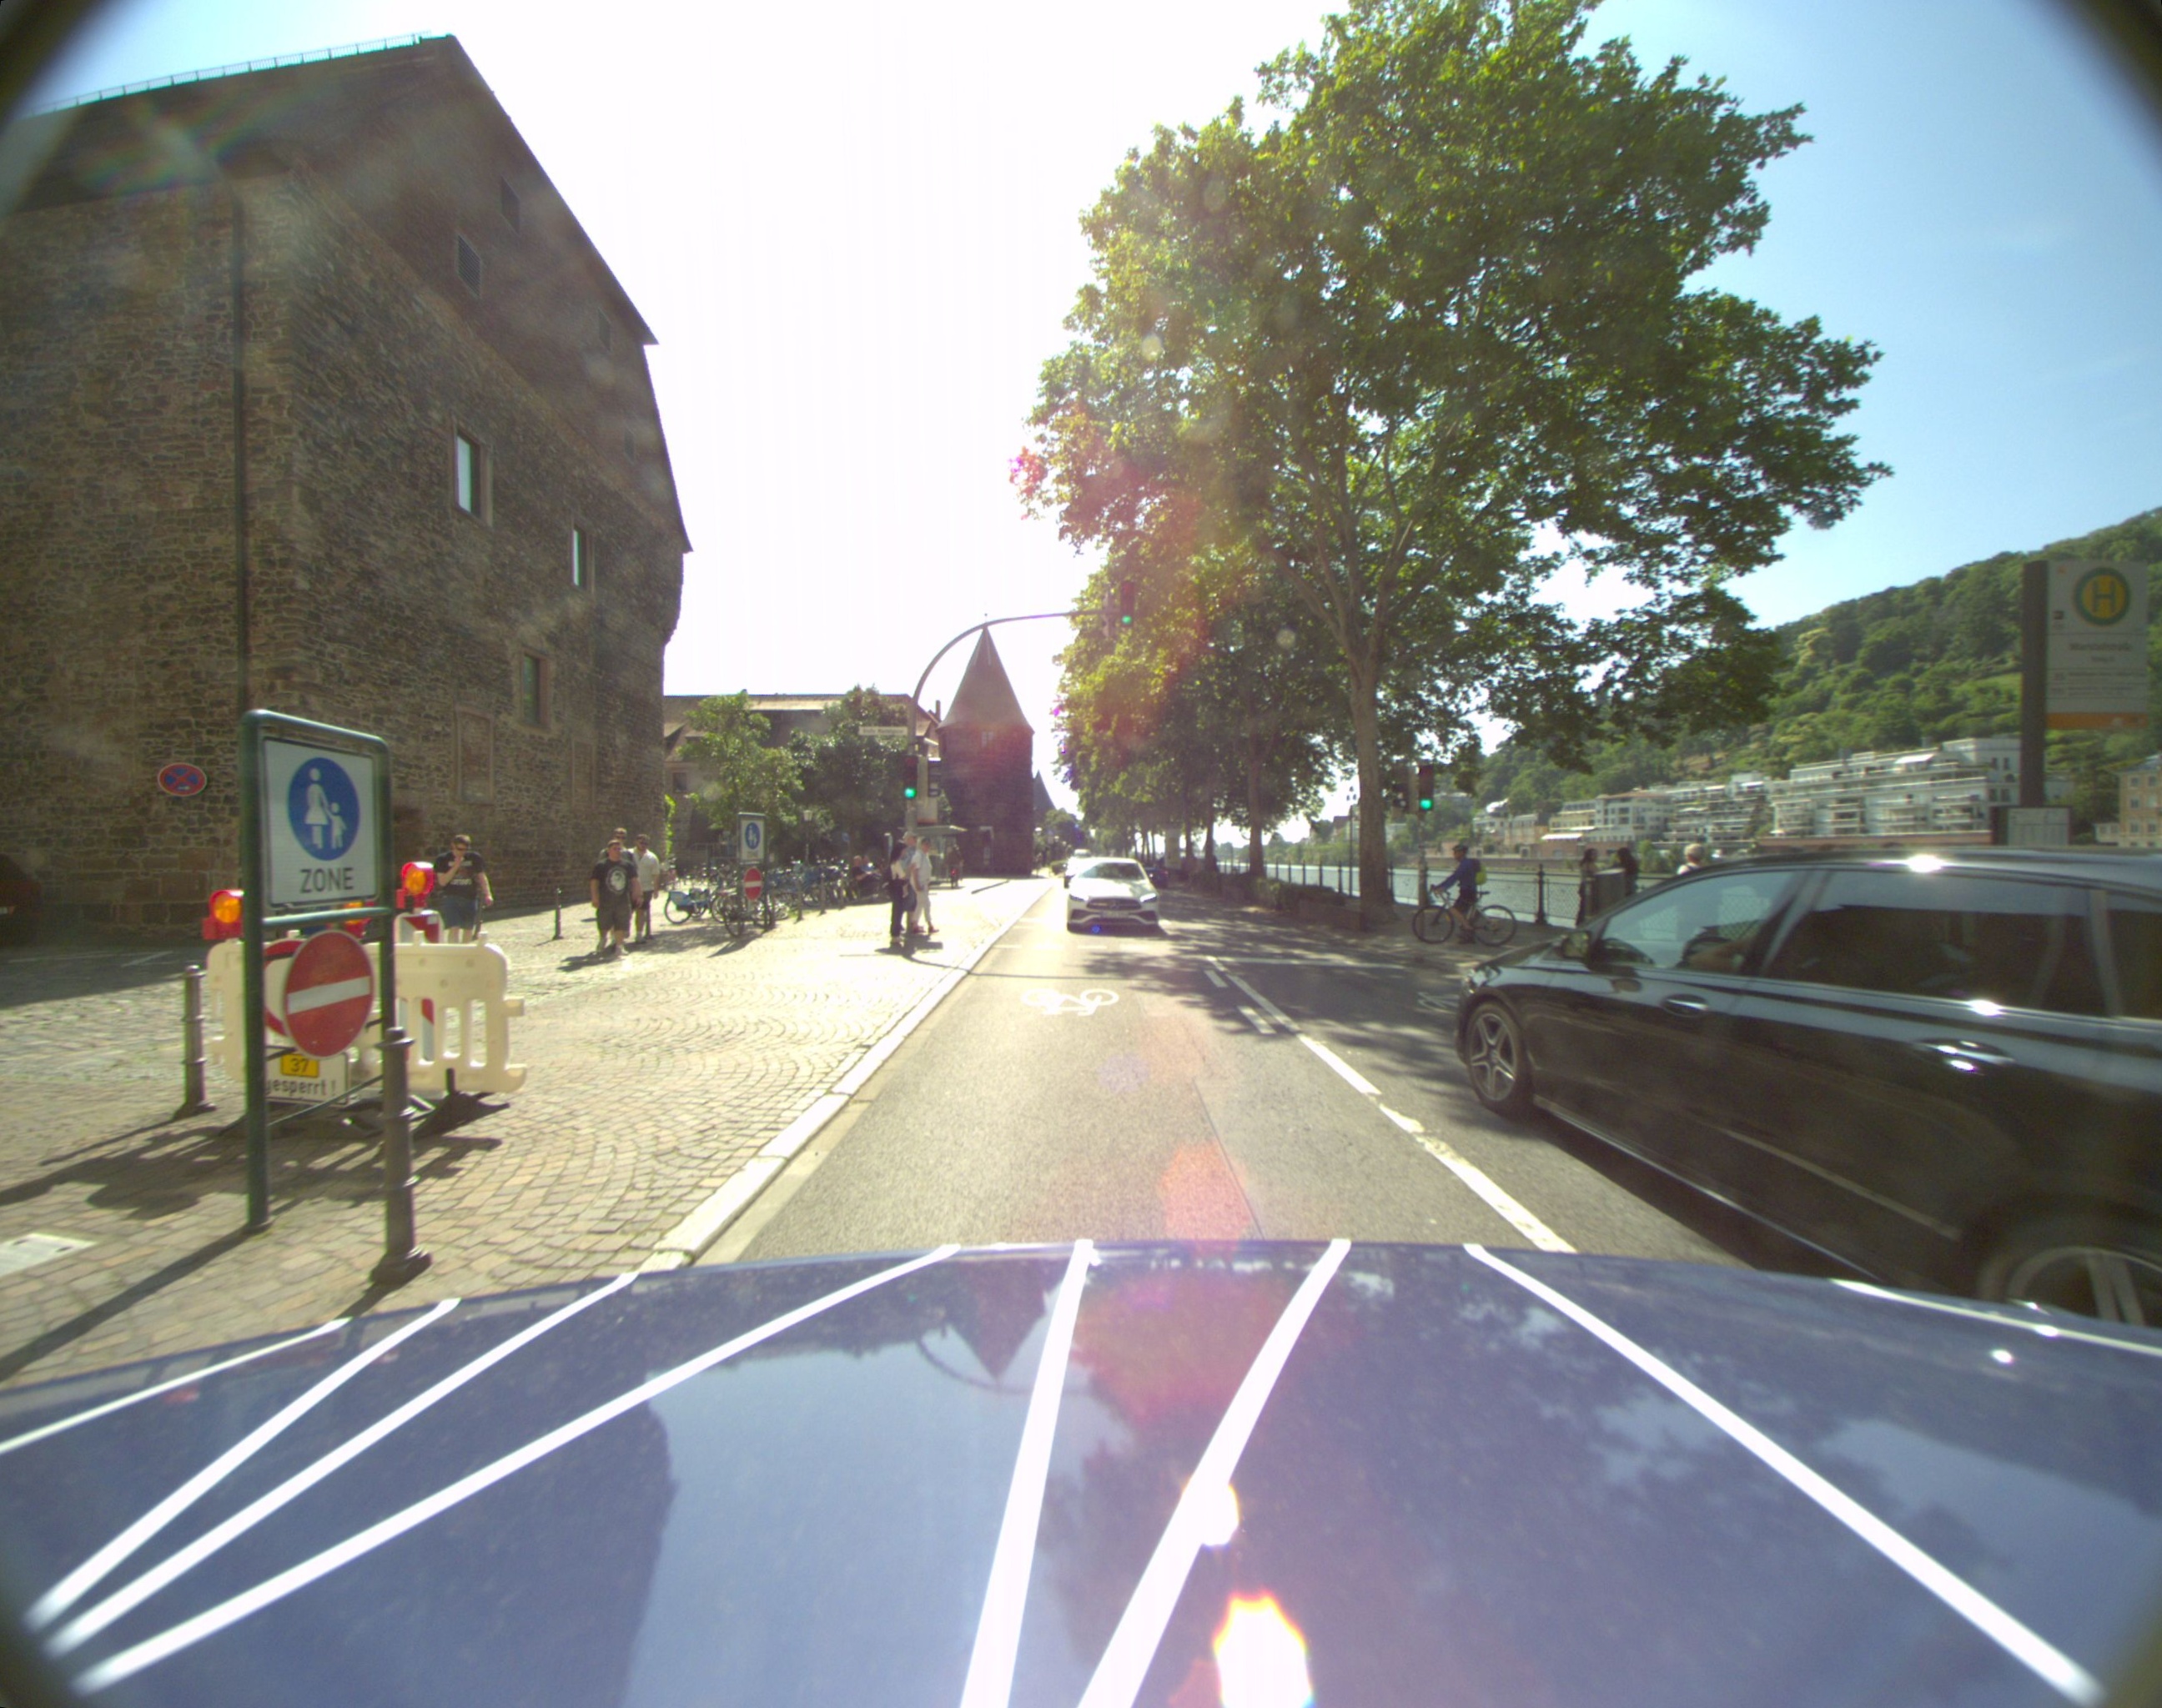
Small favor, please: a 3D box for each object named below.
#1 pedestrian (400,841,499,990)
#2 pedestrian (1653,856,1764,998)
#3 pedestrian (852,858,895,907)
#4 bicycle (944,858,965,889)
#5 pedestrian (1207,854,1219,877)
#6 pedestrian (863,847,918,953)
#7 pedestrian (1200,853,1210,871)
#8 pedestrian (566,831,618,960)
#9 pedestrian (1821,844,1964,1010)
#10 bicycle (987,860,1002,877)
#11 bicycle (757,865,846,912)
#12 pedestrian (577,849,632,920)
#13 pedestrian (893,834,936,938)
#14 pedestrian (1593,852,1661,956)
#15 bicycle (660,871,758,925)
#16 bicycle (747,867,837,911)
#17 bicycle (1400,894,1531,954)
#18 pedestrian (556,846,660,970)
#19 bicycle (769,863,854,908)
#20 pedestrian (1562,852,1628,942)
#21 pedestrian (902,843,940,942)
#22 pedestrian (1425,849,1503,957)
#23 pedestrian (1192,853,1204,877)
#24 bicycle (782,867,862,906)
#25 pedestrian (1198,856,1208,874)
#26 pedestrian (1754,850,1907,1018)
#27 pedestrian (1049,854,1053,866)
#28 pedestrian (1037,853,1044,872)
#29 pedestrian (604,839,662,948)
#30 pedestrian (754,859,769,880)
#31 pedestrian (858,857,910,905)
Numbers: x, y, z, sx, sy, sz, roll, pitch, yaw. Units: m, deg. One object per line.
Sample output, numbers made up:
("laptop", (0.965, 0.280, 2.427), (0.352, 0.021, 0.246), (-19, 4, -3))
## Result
("pedestrian", (-8.611, 0.793, 10.370), (0.788, 1.930, 0.807), (0, 1, 31))
("pedestrian", (7.503, 0.828, 9.126), (0.495, 1.608, 0.991), (0, 1, 0))
("pedestrian", (-5.541, 0.750, 20.329), (0.963, 1.274, 0.693), (0, 1, -1))
("bicycle", (-4.764, 0.712, 28.743), (0.691, 1.123, 2.008), (0, 0, -7))
("pedestrian", (9.651, 0.865, 55.586), (0.793, 1.673, 0.709), (0, 1, 0))
("pedestrian", (-3.072, 0.729, 12.327), (0.717, 1.666, 0.682), (0, 1, 0))
("pedestrian", (9.112, 0.602, 55.654), (0.633, 1.312, 0.553), (0, 1, 0))
("pedestrian", (-7.798, 0.629, 12.106), (0.657, 1.949, 0.937), (0, 1, -35))
("pedestrian", (8.749, 0.756, 8.229), (0.654, 1.703, 0.793), (1, 0, 0))
("bicycle", (-5.991, 1.000, 52.573), (0.845, 1.146, 1.844), (0, 0, 0))
("bicycle", (-7.531, 0.918, 20.512), (2.085, 1.191, 0.776), (-1, 0, -1))
("pedestrian", (-12.028, 0.758, 19.217), (0.760, 1.750, 0.960), (0, 1, 0))
("pedestrian", (-3.037, 0.569, 13.918), (0.617, 1.841, 0.730), (0, 1, 1))
("pedestrian", (9.137, 0.822, 12.736), (0.620, 1.690, 0.696), (-1, 1, 0))
("bicycle", (-8.013, 0.939, 16.403), (1.797, 1.104, 0.563), (-1, 0, -1))
("bicycle", (-7.518, 0.894, 19.791), (2.085, 1.079, 0.604), (-1, 0, -1))
("bicycle", (6.569, 1.209, 13.047), (1.826, 0.920, 0.744), (-6, -2, 41))
("pedestrian", (-7.091, 0.766, 11.408), (0.924, 1.755, 0.992), (0, 1, 31))
("bicycle", (-7.536, 0.864, 21.295), (2.085, 1.191, 0.776), (-1, 0, -1))
("pedestrian", (9.501, 0.771, 14.078), (0.550, 1.599, 0.911), (-2, 1, 0))
("pedestrian", (-2.815, 0.661, 13.411), (0.528, 1.702, 0.665), (0, 1, 0))
("pedestrian", (6.574, 0.799, 13.041), (1.022, 1.762, 0.770), (1, 1, 41))
("pedestrian", (8.682, 0.812, 56.363), (0.760, 1.720, 0.730), (0, 1, 0))
("bicycle", (-7.516, 0.933, 22.113), (2.029, 1.059, 0.801), (-1, 0, -1))
("pedestrian", (8.881, 0.769, 55.511), (0.633, 1.312, 0.553), (0, 1, 0))
("pedestrian", (7.948, 0.810, 8.099), (0.837, 1.703, 0.782), (0, 1, 0))
("pedestrian", (-4.180, 0.858, 105.340), (0.592, 1.662, 0.442), (0, 1, 0))
("pedestrian", (-3.892, 0.835, 73.031), (0.556, 1.844, 1.023), (0, 0, 0))
("pedestrian", (-7.480, 0.624, 12.721), (0.806, 1.743, 0.907), (0, 1, -29))
("pedestrian", (-21.692, 1.050, 51.573), (0.660, 1.413, 0.675), (1, 2, 31))
("pedestrian", (-5.437, 0.749, 21.008), (1.250, 1.300, 0.693), (0, 1, -1))
